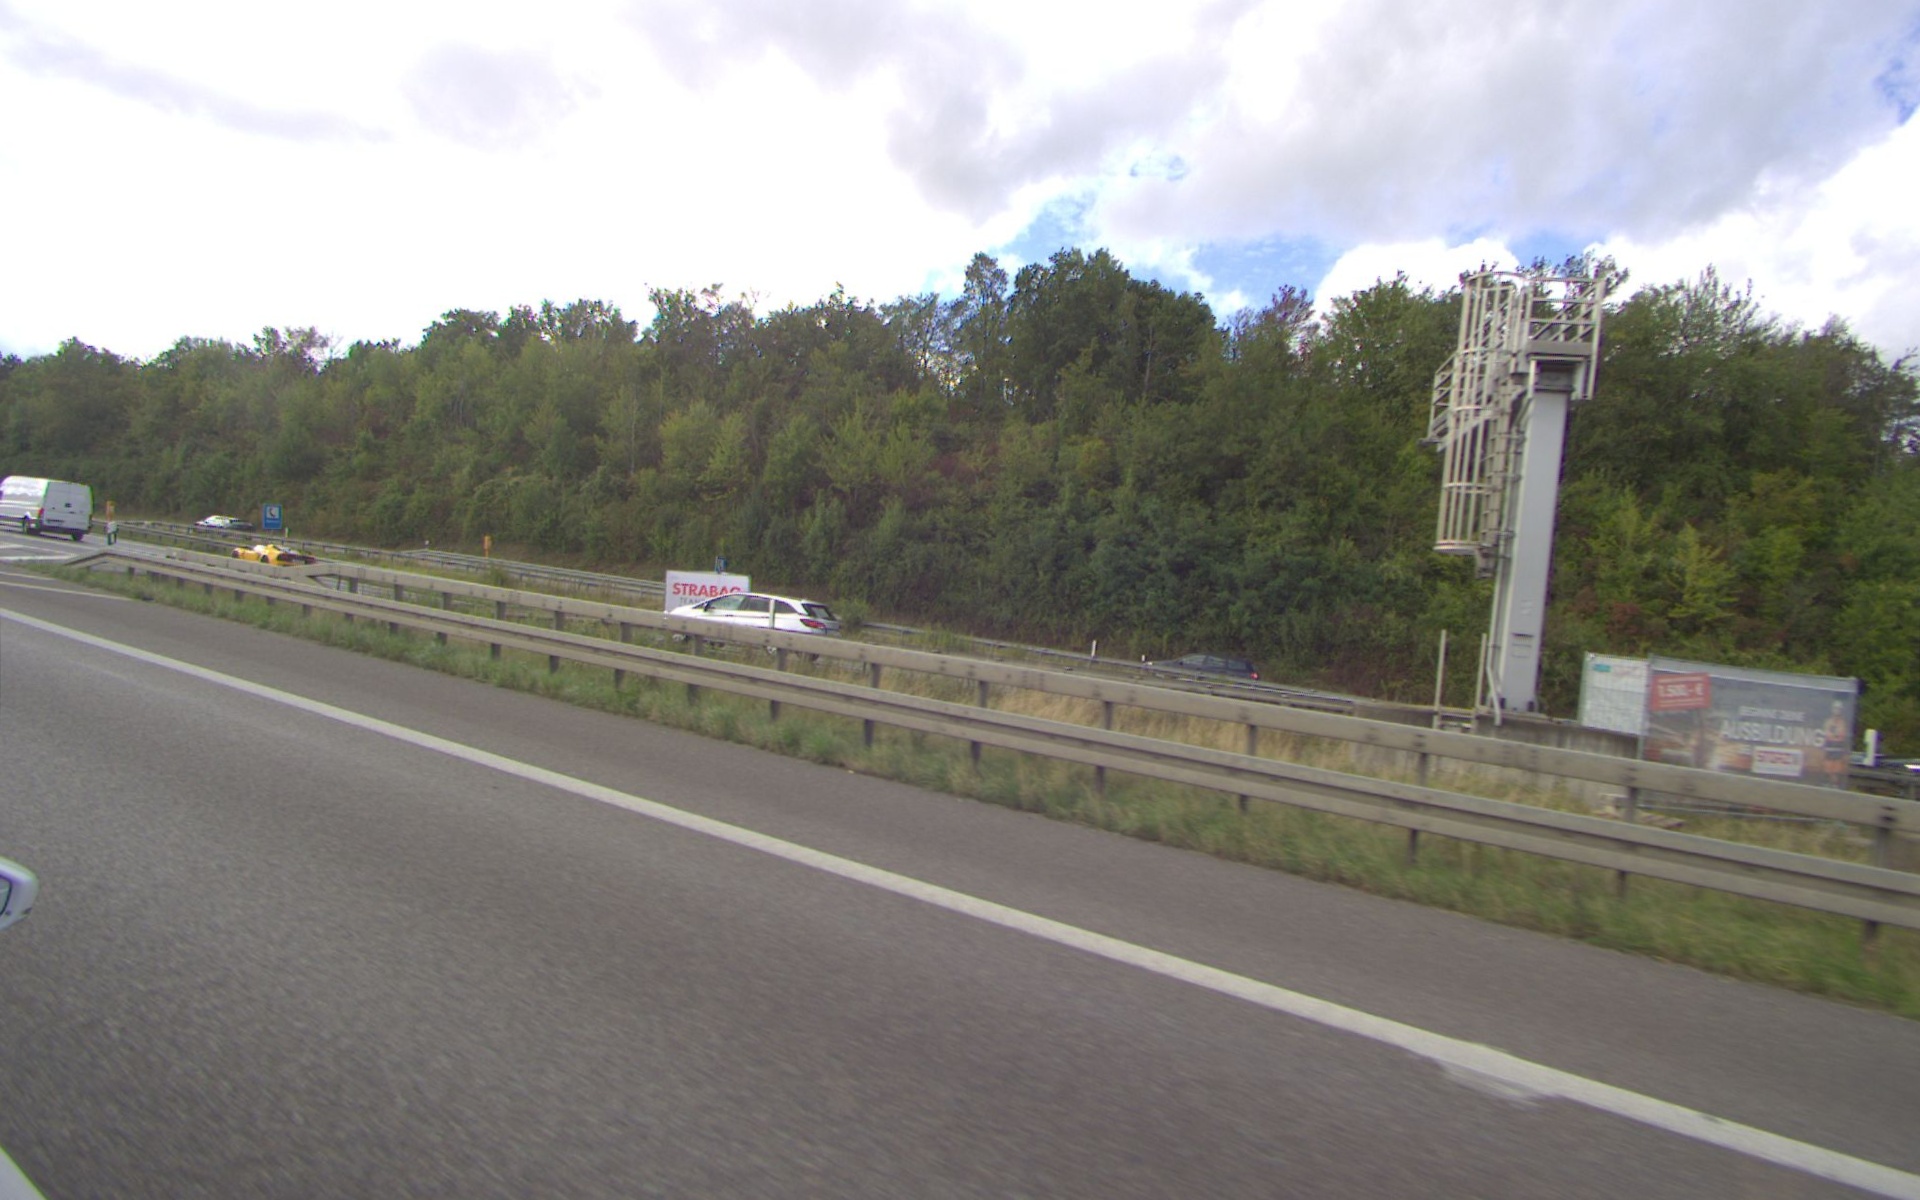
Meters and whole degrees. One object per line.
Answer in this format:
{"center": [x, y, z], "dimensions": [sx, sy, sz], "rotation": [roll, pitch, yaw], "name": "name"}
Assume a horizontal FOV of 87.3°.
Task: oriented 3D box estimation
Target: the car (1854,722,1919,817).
{"center": [20.350, 3.525, 19.110], "dimensions": [4.767, 1.656, 1.878], "rotation": [7, -1, 3], "name": "car"}

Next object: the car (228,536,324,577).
{"center": [-28.796, -1.847, 42.330], "dimensions": [4.099, 1.196, 1.715], "rotation": [7, -1, 31], "name": "car"}

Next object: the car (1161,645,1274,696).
{"center": [10.174, 2.743, 39.753], "dimensions": [4.090, 1.433, 1.718], "rotation": [7, 0, 17], "name": "car"}

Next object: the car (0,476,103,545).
{"center": [-42.734, -4.223, 46.765], "dimensions": [6.627, 2.586, 2.073], "rotation": [7, 1, 29], "name": "car"}

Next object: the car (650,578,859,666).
{"center": [-4.895, 0.526, 24.043], "dimensions": [4.529, 1.503, 1.689], "rotation": [7, -1, 18], "name": "car"}

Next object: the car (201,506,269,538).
{"center": [-47.864, -5.161, 66.358], "dimensions": [4.684, 1.623, 1.844], "rotation": [7, 2, 30], "name": "car"}
